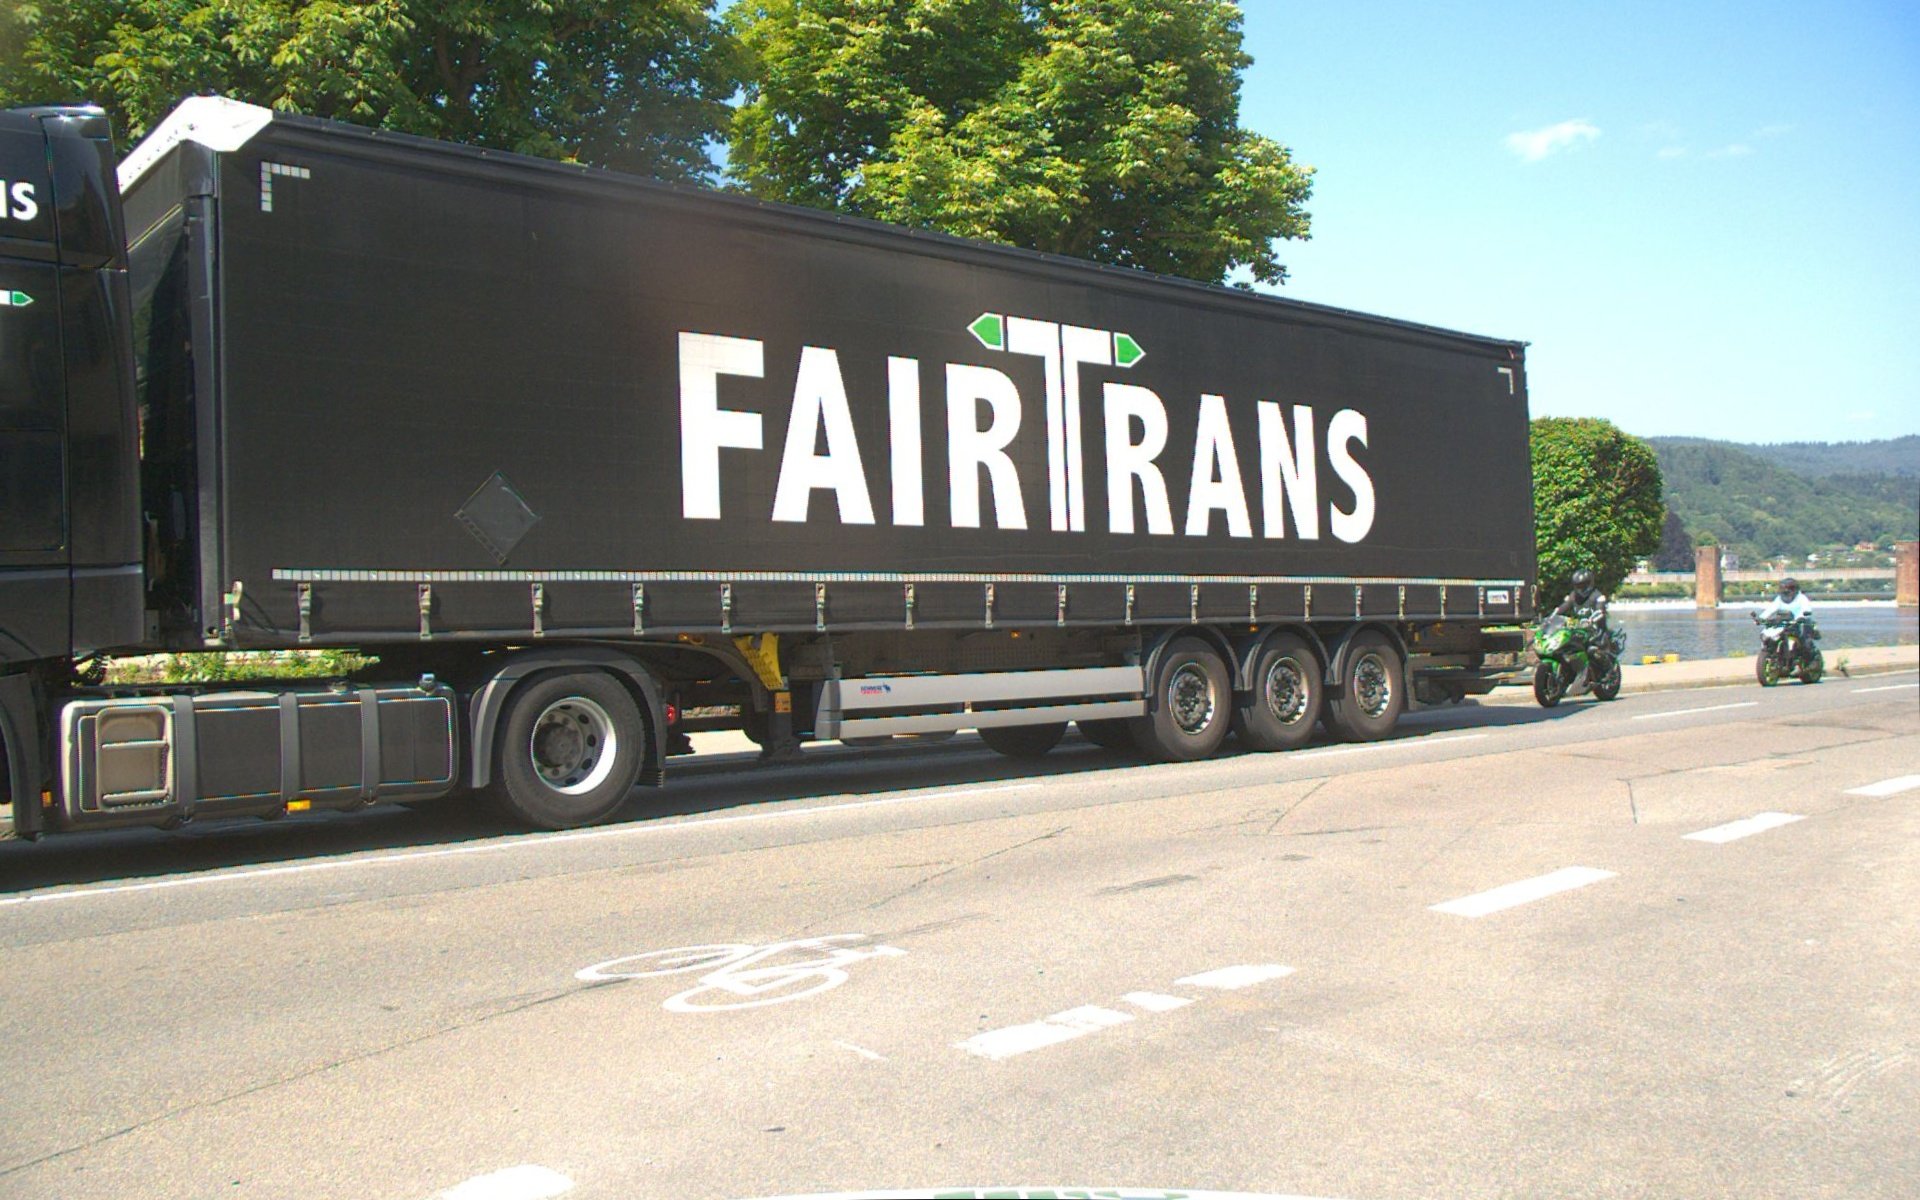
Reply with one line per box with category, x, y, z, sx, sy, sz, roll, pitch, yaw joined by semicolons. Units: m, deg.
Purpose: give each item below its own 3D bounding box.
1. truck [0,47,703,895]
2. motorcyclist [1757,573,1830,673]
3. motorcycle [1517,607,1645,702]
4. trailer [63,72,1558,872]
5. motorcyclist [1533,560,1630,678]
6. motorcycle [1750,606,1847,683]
truck;-4.821;-0.605;9.769;5.878;4.143;2.798;-1;-2;-41
motorcyclist;13.208;0.360;26.208;0.983;1.551;0.655;-1;-2;-41
motorcycle;8.060;0.692;21.419;2.075;1.143;0.625;-1;-2;-42
trailer;0.237;-0.719;14.179;13.648;4.176;2.800;-1;-2;-41
motorcyclist;8.055;0.248;21.434;0.983;1.486;0.769;-1;-2;-41
motorcycle;13.350;0.695;26.305;2.075;1.143;0.625;-1;-2;-42
